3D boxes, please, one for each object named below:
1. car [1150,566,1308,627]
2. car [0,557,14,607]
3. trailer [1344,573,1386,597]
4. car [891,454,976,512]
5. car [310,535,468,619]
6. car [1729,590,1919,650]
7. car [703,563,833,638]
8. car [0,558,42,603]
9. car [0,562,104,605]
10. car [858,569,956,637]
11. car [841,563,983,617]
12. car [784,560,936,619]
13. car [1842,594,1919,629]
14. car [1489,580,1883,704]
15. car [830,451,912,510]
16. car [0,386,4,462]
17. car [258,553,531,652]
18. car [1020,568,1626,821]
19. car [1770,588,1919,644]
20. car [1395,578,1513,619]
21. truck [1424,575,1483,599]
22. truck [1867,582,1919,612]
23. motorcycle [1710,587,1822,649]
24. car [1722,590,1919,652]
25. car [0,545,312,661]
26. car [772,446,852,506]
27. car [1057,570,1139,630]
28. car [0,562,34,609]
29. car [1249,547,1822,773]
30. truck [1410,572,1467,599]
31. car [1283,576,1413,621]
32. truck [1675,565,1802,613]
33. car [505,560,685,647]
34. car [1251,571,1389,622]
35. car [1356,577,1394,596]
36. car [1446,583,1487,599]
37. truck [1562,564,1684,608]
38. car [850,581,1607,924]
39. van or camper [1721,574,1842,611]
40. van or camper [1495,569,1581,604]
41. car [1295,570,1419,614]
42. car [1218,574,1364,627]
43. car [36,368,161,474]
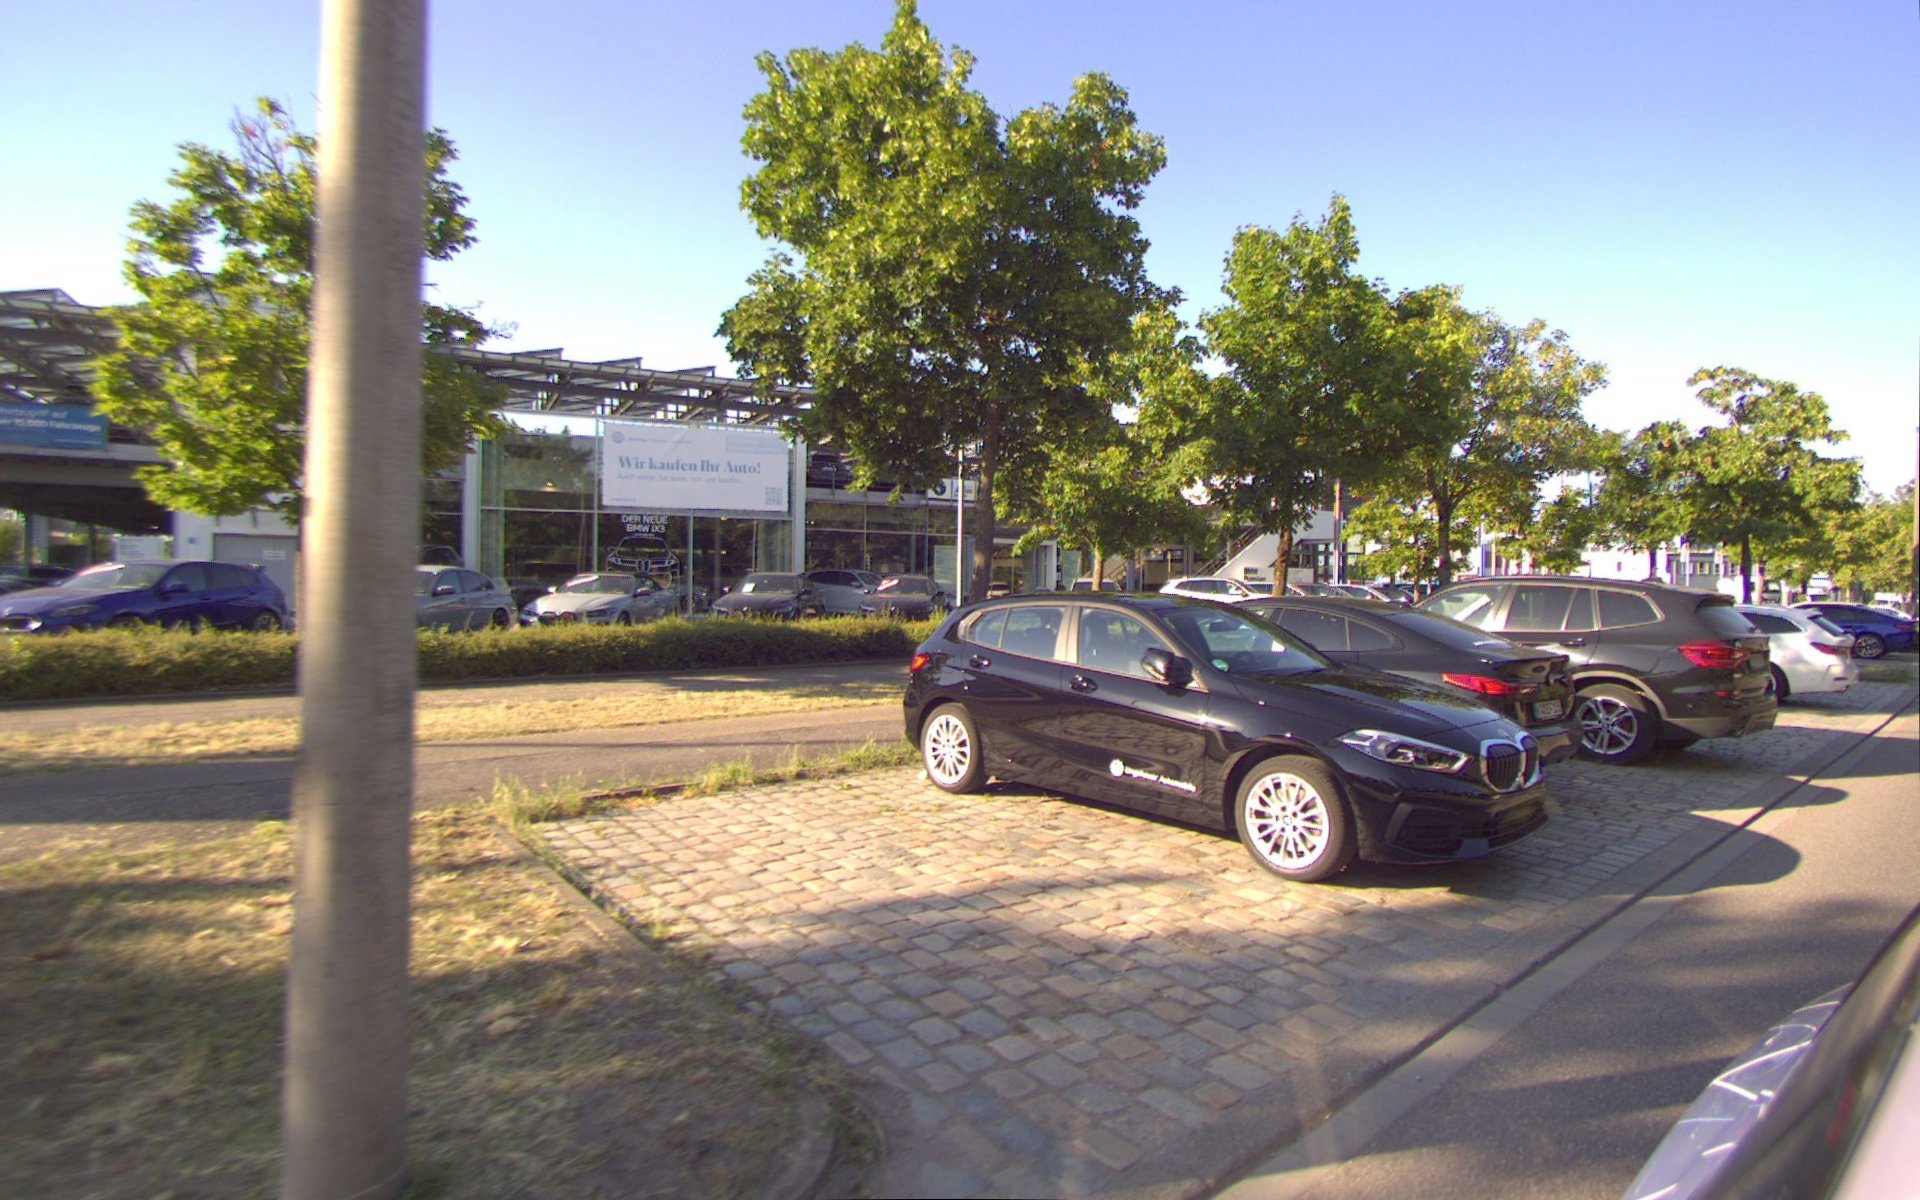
[{"bbox_3d":[8.672,-0.148,32.531,4.673,1.711,2.395,2,2,21],"label":"car"},{"bbox_3d":[-34.699,-0.637,33.599,4.470,1.694,2.040,0,1,-32],"label":"car"},{"bbox_3d":[52.973,-1.974,132.413,4.757,3.107,2.004,1,1,-11],"label":"trailer"},{"bbox_3d":[-1.117,-4.651,40.729,1.751,1.688,4.003,1,-2,-29],"label":"car"},{"bbox_3d":[-15.182,-0.598,27.205,1.961,2.039,4.184,1,1,-2],"label":"car"},{"bbox_3d":[26.124,0.539,30.530,1.966,1.497,4.383,0,2,-42],"label":"car"},{"bbox_3d":[-4.161,-0.045,22.732,1.962,1.482,4.790,1,1,0],"label":"car"},{"bbox_3d":[-37.943,-0.753,38.263,4.470,1.694,2.040,0,1,-32],"label":"car"},{"bbox_3d":[-38.106,-0.671,41.373,4.470,1.694,2.040,0,1,-32],"label":"car"},{"bbox_3d":[-1.204,0.017,25.228,1.963,1.482,4.787,1,1,3],"label":"car"},{"bbox_3d":[-1.714,-0.387,35.737,4.753,1.796,1.978,2,1,32],"label":"car"},{"bbox_3d":[-3.324,-0.391,33.247,4.753,1.796,1.978,2,1,32],"label":"car"},{"bbox_3d":[43.899,0.539,47.057,2.054,1.461,4.202,0,2,-44],"label":"car"},{"bbox_3d":[11.193,0.527,15.889,1.966,1.497,4.702,0,2,-42],"label":"car"},{"bbox_3d":[-3.578,-4.661,39.943,1.751,1.688,4.003,1,-2,-29],"label":"car"},{"bbox_3d":[-28.685,-5.052,27.069,4.117,2.129,2.001,1,-2,-31],"label":"car"},{"bbox_3d":[-9.647,-0.012,17.826,2.009,1.482,4.788,1,1,2],"label":"car"},{"bbox_3d":[2.787,0.548,8.643,1.998,1.570,4.489,0,1,-41],"label":"car"},{"bbox_3d":[29.693,0.505,33.272,4.593,1.604,1.968,4,2,45],"label":"car"},{"bbox_3d":[21.954,-0.084,45.176,4.551,1.687,1.985,1,1,22],"label":"car"},{"bbox_3d":[63.910,-1.669,131.106,6.966,2.943,2.004,1,1,-11],"label":"truck"},{"bbox_3d":[88.120,-0.257,94.837,5.849,2.754,2.551,1,1,-26],"label":"truck"},{"bbox_3d":[20.581,0.434,25.916,2.114,1.484,0.939,2,1,32],"label":"motorcycle"},{"bbox_3d":[24.434,0.539,28.342,1.966,1.474,4.632,0,2,-42],"label":"car"},{"bbox_3d":[-12.353,-0.021,15.432,1.961,1.482,4.792,1,1,-2],"label":"car"},{"bbox_3d":[-5.719,-4.683,38.755,1.751,1.688,4.003,1,-2,-29],"label":"car"},{"bbox_3d":[4.005,-0.049,30.182,1.963,1.591,5.188,1,1,3],"label":"car"},{"bbox_3d":[-36.357,-0.559,36.159,4.470,1.694,2.040,0,1,-32],"label":"car"},{"bbox_3d":[5.626,0.432,10.485,2.151,1.773,4.707,0,1,-38],"label":"car"},{"bbox_3d":[63.390,-1.920,134.049,6.966,3.393,2.004,1,1,-11],"label":"truck"},{"bbox_3d":[14.912,-0.084,38.935,4.557,1.594,1.983,1,1,25],"label":"car"},{"bbox_3d":[61.773,-0.944,80.656,3.052,3.566,8.265,1,1,-6],"label":"truck"},{"bbox_3d":[-7.032,0.012,20.082,1.961,1.482,4.792,1,1,-2],"label":"car"},{"bbox_3d":[12.974,-0.163,36.590,4.550,1.593,1.986,2,2,21],"label":"car"},{"bbox_3d":[52.935,-1.723,129.158,3.917,2.306,2.093,1,1,-11],"label":"car"},{"bbox_3d":[64.223,-1.136,128.340,3.917,2.039,2.398,1,1,-11],"label":"car"},{"bbox_3d":[59.207,-1.264,90.784,3.228,3.690,10.135,1,1,-8],"label":"truck"},{"bbox_3d":[1.405,0.610,6.678,1.999,1.421,4.487,-2,2,-42],"label":"car"},{"bbox_3d":[70.712,-0.708,87.353,2.881,2.936,8.027,1,1,-11],"label":"van or camper"},{"bbox_3d":[58.341,-1.369,102.426,2.363,3.370,8.157,1,1,-16],"label":"van or camper"},{"bbox_3d":[16.148,-0.352,41.360,4.550,1.593,1.986,2,2,21],"label":"car"},{"bbox_3d":[11.231,-0.027,34.371,4.550,1.593,1.986,2,2,21],"label":"car"},{"bbox_3d":[-24.556,-5.018,29.021,1.960,2.129,4.204,1,-2,-30],"label":"car"}]
